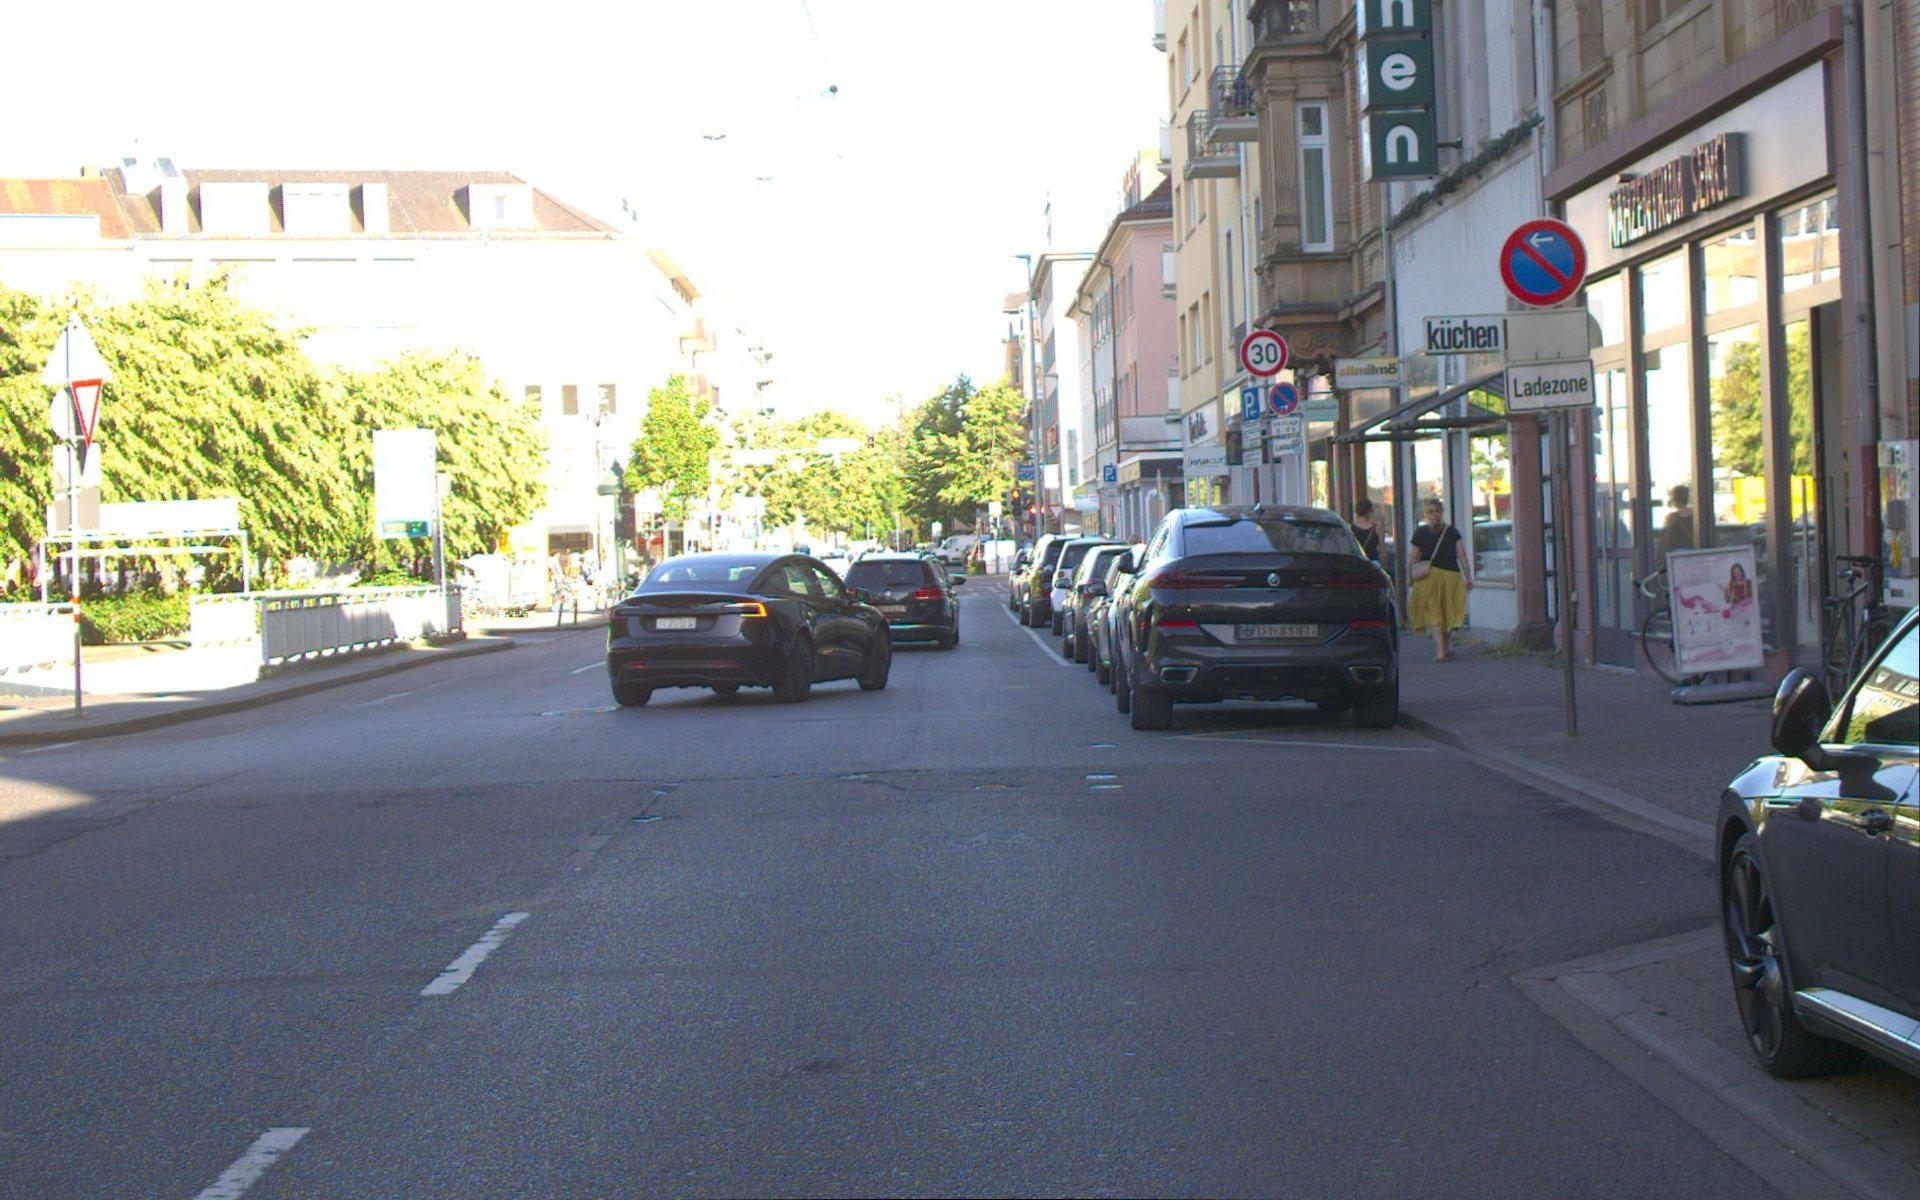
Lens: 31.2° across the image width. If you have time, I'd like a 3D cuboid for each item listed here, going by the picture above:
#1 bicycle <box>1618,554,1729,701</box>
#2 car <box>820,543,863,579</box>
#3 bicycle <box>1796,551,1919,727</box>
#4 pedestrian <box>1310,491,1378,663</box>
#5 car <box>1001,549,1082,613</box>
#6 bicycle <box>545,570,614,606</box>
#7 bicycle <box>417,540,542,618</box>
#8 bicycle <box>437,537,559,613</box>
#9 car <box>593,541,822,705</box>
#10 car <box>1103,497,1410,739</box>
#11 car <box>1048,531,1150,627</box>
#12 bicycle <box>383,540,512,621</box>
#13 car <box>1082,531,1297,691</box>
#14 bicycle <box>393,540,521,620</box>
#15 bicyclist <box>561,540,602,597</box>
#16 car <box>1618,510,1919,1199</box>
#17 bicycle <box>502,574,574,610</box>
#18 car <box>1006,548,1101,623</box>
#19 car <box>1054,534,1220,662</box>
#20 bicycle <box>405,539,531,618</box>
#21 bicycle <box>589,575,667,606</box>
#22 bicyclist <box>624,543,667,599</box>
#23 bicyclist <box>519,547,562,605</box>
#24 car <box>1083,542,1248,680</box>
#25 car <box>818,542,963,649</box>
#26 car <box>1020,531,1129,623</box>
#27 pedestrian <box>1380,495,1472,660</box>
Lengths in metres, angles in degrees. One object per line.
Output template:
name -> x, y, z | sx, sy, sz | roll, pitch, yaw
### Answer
bicycle -> 5.561, 0.191, 26.870 | 0.358, 1.081, 1.942 | -4, 1, -1
car -> -6.134, -2.049, 178.370 | 1.993, 1.766, 4.000 | -1, 2, 1
bicycle -> 5.741, 0.223, 21.792 | 0.358, 1.041, 1.791 | -4, 1, -1
pedestrian -> 4.003, -0.242, 35.842 | 0.620, 1.760, 0.518 | -2, 1, 3
car -> 1.884, -0.428, 80.398 | 1.792, 1.455, 3.868 | 0, 0, 0
bicycle -> -11.422, -0.372, 103.288 | 2.011, 1.018, 0.762 | -2, 1, -3
bicycle -> -12.834, -0.558, 91.862 | 3.122, 2.007, 0.908 | -1, 1, 9
bicycle -> -12.629, -0.682, 93.980 | 3.122, 2.007, 0.908 | -1, 1, 9
car -> -2.387, 0.213, 33.553 | 1.995, 1.475, 4.495 | 0, 0, -1
car -> 2.225, 0.076, 27.011 | 1.973, 1.719, 4.824 | 0, 1, 0
car -> 2.292, -0.365, 57.322 | 1.613, 1.541, 2.855 | 0, 1, 1
bicycle -> -13.250, -0.514, 88.870 | 3.122, 2.007, 0.908 | -1, 1, 9
car -> 2.221, 0.061, 34.169 | 1.839, 1.482, 4.184 | 0, 1, 0
bicycle -> -13.137, -0.520, 89.826 | 3.122, 2.007, 0.908 | -1, 1, 9
bicyclist -> -11.366, -0.941, 103.304 | 1.146, 1.680, 0.819 | -2, 1, -3
car -> 2.966, 0.505, 7.642 | 1.917, 1.473, 4.965 | -6, 1, 0
bicycle -> -12.383, -0.238, 100.829 | 2.011, 1.018, 0.888 | -2, 1, -3
car -> 1.861, -0.273, 69.659 | 1.792, 1.455, 4.084 | 0, 0, 0
car -> 2.228, -0.067, 44.274 | 1.839, 1.541, 4.229 | 0, 1, -1
bicycle -> -13.000, -0.563, 90.817 | 3.122, 2.007, 0.908 | -1, 1, 9
bicycle -> -10.146, -0.306, 105.151 | 2.244, 0.880, 0.923 | -1, 1, 4
bicyclist -> -9.620, -0.886, 105.117 | 1.146, 1.680, 0.915 | -1, 1, 3
bicyclist -> -12.311, -0.713, 100.830 | 1.146, 1.680, 0.919 | -2, 1, -3
car -> 2.259, 0.086, 38.549 | 1.608, 1.444, 3.830 | 0, 1, 0
car -> -0.991, -0.097, 51.302 | 1.935, 1.482, 4.271 | -1, 1, 2
car -> 2.059, -0.400, 62.849 | 1.716, 1.630, 4.084 | 0, 0, -2
pedestrian -> 4.880, -0.234, 36.023 | 0.801, 1.669, 0.589 | -4, 1, 3
